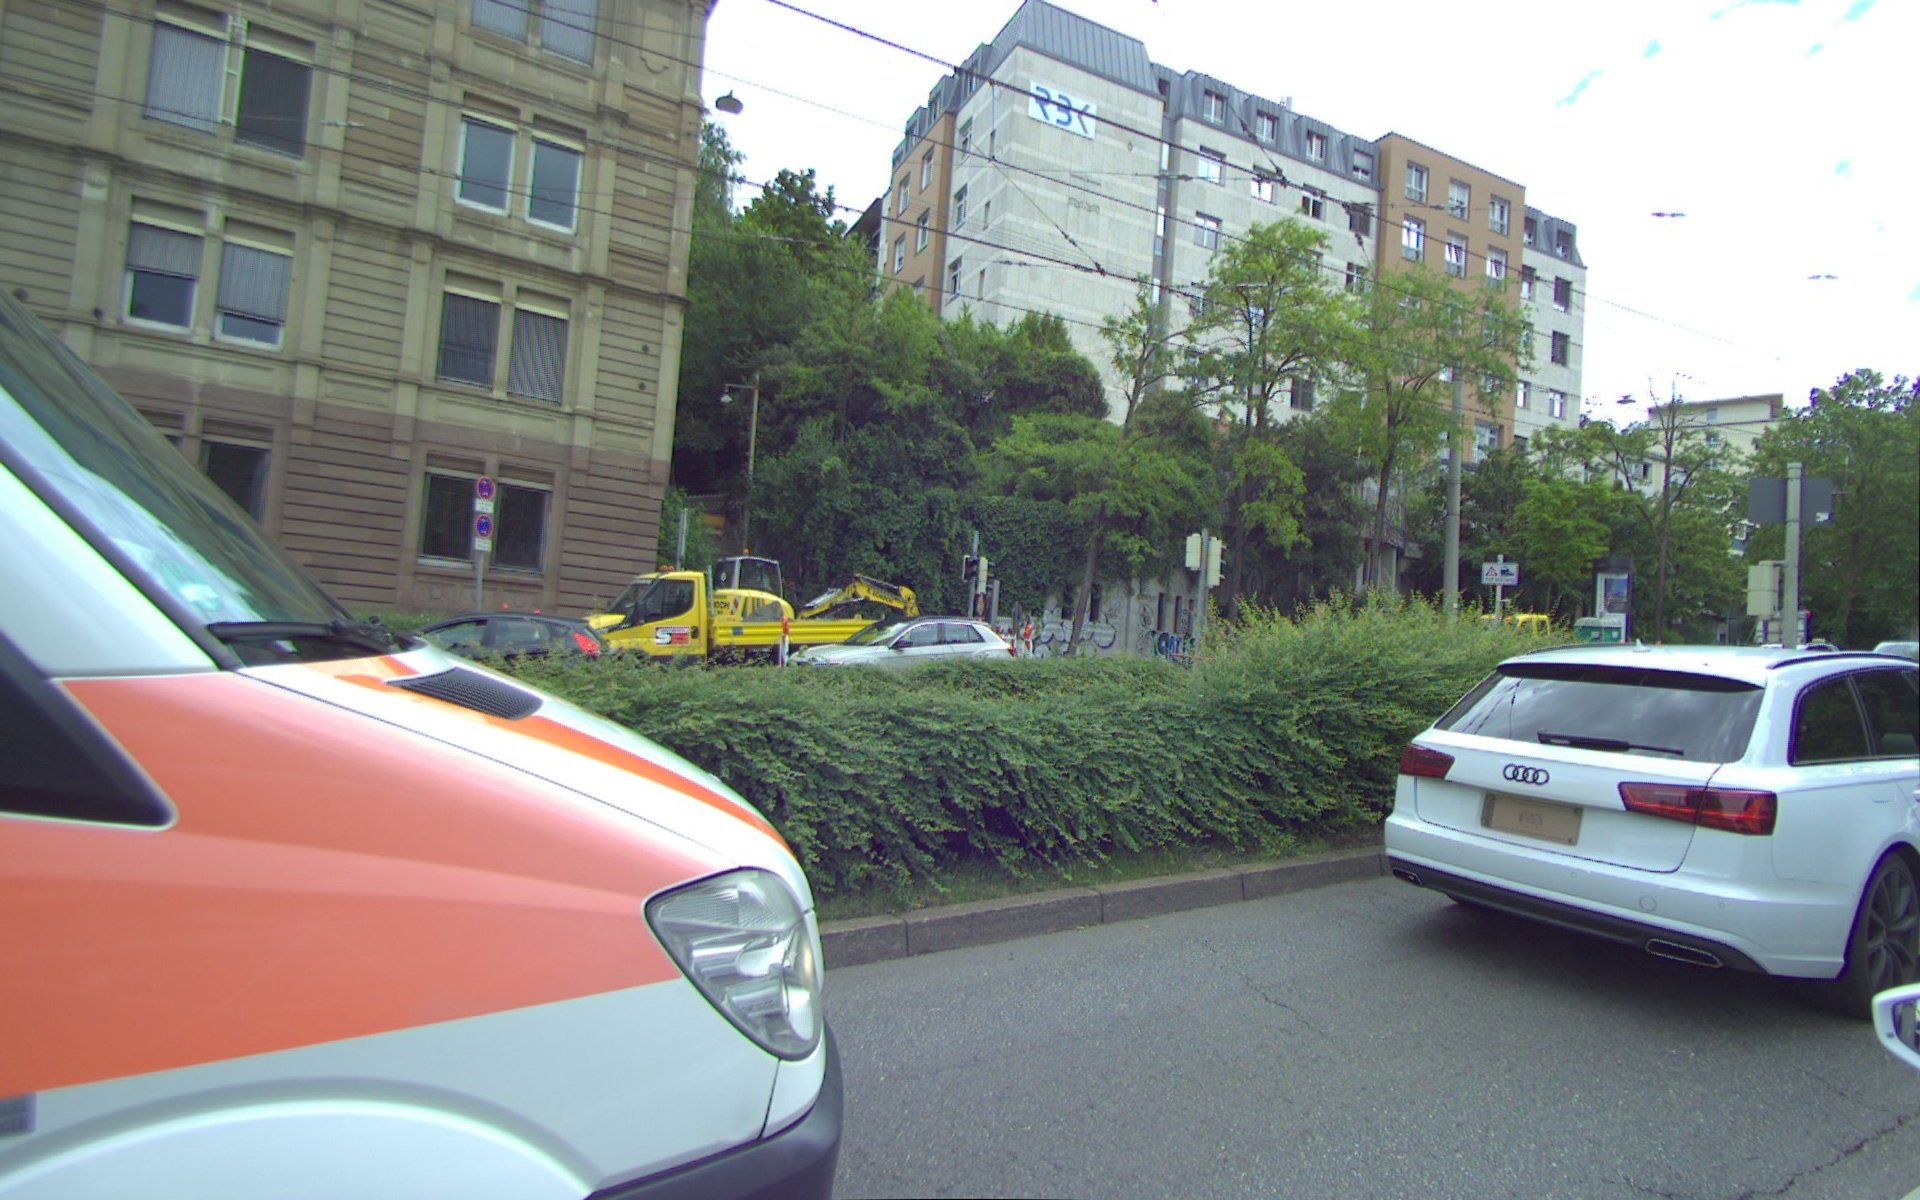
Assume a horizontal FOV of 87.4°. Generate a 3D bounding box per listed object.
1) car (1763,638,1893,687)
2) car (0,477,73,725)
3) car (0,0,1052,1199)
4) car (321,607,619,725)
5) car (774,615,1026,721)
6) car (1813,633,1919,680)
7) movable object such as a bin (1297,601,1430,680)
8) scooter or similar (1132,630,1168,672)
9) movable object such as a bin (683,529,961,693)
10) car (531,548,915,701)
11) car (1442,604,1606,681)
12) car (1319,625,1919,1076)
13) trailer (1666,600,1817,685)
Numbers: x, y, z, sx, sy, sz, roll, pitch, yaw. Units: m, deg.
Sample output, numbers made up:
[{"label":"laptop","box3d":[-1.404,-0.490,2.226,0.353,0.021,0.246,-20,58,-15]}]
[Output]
[{"label":"car","box3d":[30.767,2.199,35.603,4.561,1.626,1.986,2,-2,-28]},{"label":"car","box3d":[-13.582,-0.030,11.406,4.720,2.860,2.202,2,-2,-26]},{"label":"car","box3d":[-2.879,0.259,0.861,5.786,2.735,2.024,2,-1,-30]},{"label":"car","box3d":[-6.688,0.890,14.056,3.514,1.473,1.641,2,-1,-23]},{"label":"car","box3d":[-0.954,1.114,16.982,3.961,1.587,1.692,3,-2,-35]},{"label":"car","box3d":[33.895,2.076,37.096,4.547,1.626,1.988,2,-2,-25]},{"label":"movable object such as a bin","box3d":[13.624,1.349,33.899,4.045,2.500,1.926,2,0,-27]},{"label":"scooter or similar","box3d":[6.106,1.625,32.212,1.282,1.306,0.423,2,-2,-41]},{"label":"movable object such as a bin","box3d":[-3.312,0.371,25.245,6.499,3.594,2.722,3,-3,-41]},{"label":"car","box3d":[-4.340,0.533,19.139,6.686,2.468,2.425,3,-2,-35]},{"label":"car","box3d":[20.679,1.600,36.776,6.254,2.627,2.149,2,-2,-27]},{"label":"car","box3d":[4.201,0.933,5.305,4.564,1.474,1.870,2,-2,-31]},{"label":"trailer","box3d":[29.677,1.620,38.130,5.510,3.012,2.015,2,0,-23]}]
